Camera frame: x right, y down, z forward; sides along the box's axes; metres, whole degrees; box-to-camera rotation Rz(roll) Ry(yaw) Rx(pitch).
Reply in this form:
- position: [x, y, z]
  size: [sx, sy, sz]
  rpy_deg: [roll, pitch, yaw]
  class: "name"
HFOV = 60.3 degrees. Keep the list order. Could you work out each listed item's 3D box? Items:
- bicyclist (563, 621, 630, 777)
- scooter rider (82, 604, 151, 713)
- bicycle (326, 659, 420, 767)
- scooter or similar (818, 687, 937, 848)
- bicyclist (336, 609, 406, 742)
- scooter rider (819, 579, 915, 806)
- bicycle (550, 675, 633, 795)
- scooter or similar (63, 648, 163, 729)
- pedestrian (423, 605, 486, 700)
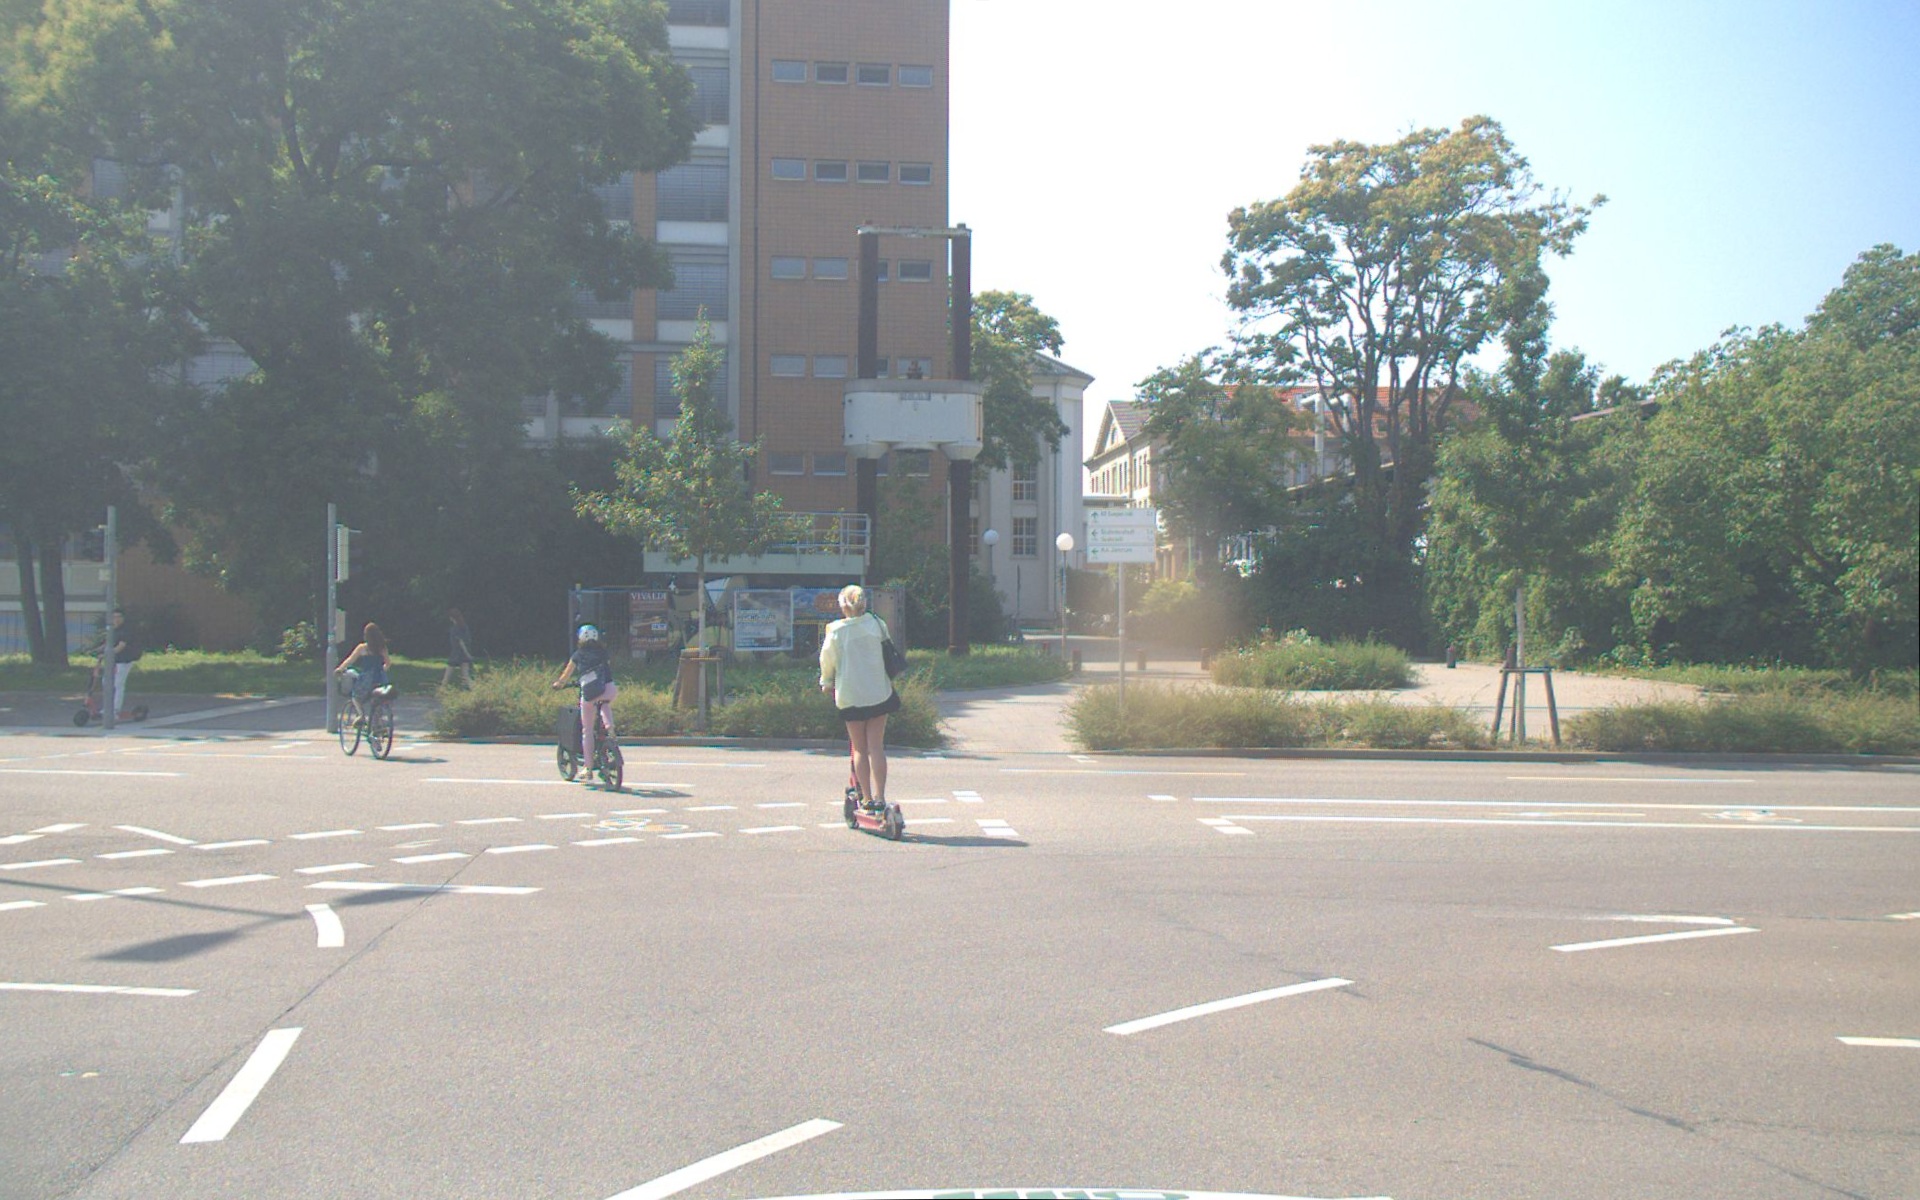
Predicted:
- position: [-3.684, 0.976, 16.739]
  size: [0.541, 1.522, 0.798]
  rpy_deg: [0, -1, -22]
  class: "bicyclist"
- position: [-13.984, 0.952, 27.423]
  size: [0.675, 1.770, 0.802]
  rpy_deg: [0, 0, 36]
  class: "scooter rider"
- position: [-7.595, 1.417, 21.336]
  size: [0.687, 1.175, 2.346]
  rpy_deg: [-1, 1, -31]
  class: "bicycle"
- position: [-0.671, 1.239, 12.737]
  size: [0.547, 1.079, 1.996]
  rpy_deg: [0, -2, -14]
  class: "scooter or similar"
- position: [-7.593, 0.955, 21.313]
  size: [0.683, 1.626, 0.835]
  rpy_deg: [-1, 2, -32]
  class: "bicyclist"
- position: [-0.738, 0.714, 12.990]
  size: [0.659, 1.729, 0.537]
  rpy_deg: [0, -2, -15]
  class: "scooter rider"
- position: [-3.842, 1.357, 17.133]
  size: [0.548, 1.078, 1.991]
  rpy_deg: [0, 0, -21]
  class: "bicycle"
- position: [-14.039, 1.449, 27.429]
  size: [0.573, 1.256, 1.363]
  rpy_deg: [0, 0, 36]
  class: "scooter or similar"
- position: [-9.421, 0.963, 30.828]
  size: [0.857, 1.734, 0.708]
  rpy_deg: [0, 1, 12]
  class: "pedestrian"
